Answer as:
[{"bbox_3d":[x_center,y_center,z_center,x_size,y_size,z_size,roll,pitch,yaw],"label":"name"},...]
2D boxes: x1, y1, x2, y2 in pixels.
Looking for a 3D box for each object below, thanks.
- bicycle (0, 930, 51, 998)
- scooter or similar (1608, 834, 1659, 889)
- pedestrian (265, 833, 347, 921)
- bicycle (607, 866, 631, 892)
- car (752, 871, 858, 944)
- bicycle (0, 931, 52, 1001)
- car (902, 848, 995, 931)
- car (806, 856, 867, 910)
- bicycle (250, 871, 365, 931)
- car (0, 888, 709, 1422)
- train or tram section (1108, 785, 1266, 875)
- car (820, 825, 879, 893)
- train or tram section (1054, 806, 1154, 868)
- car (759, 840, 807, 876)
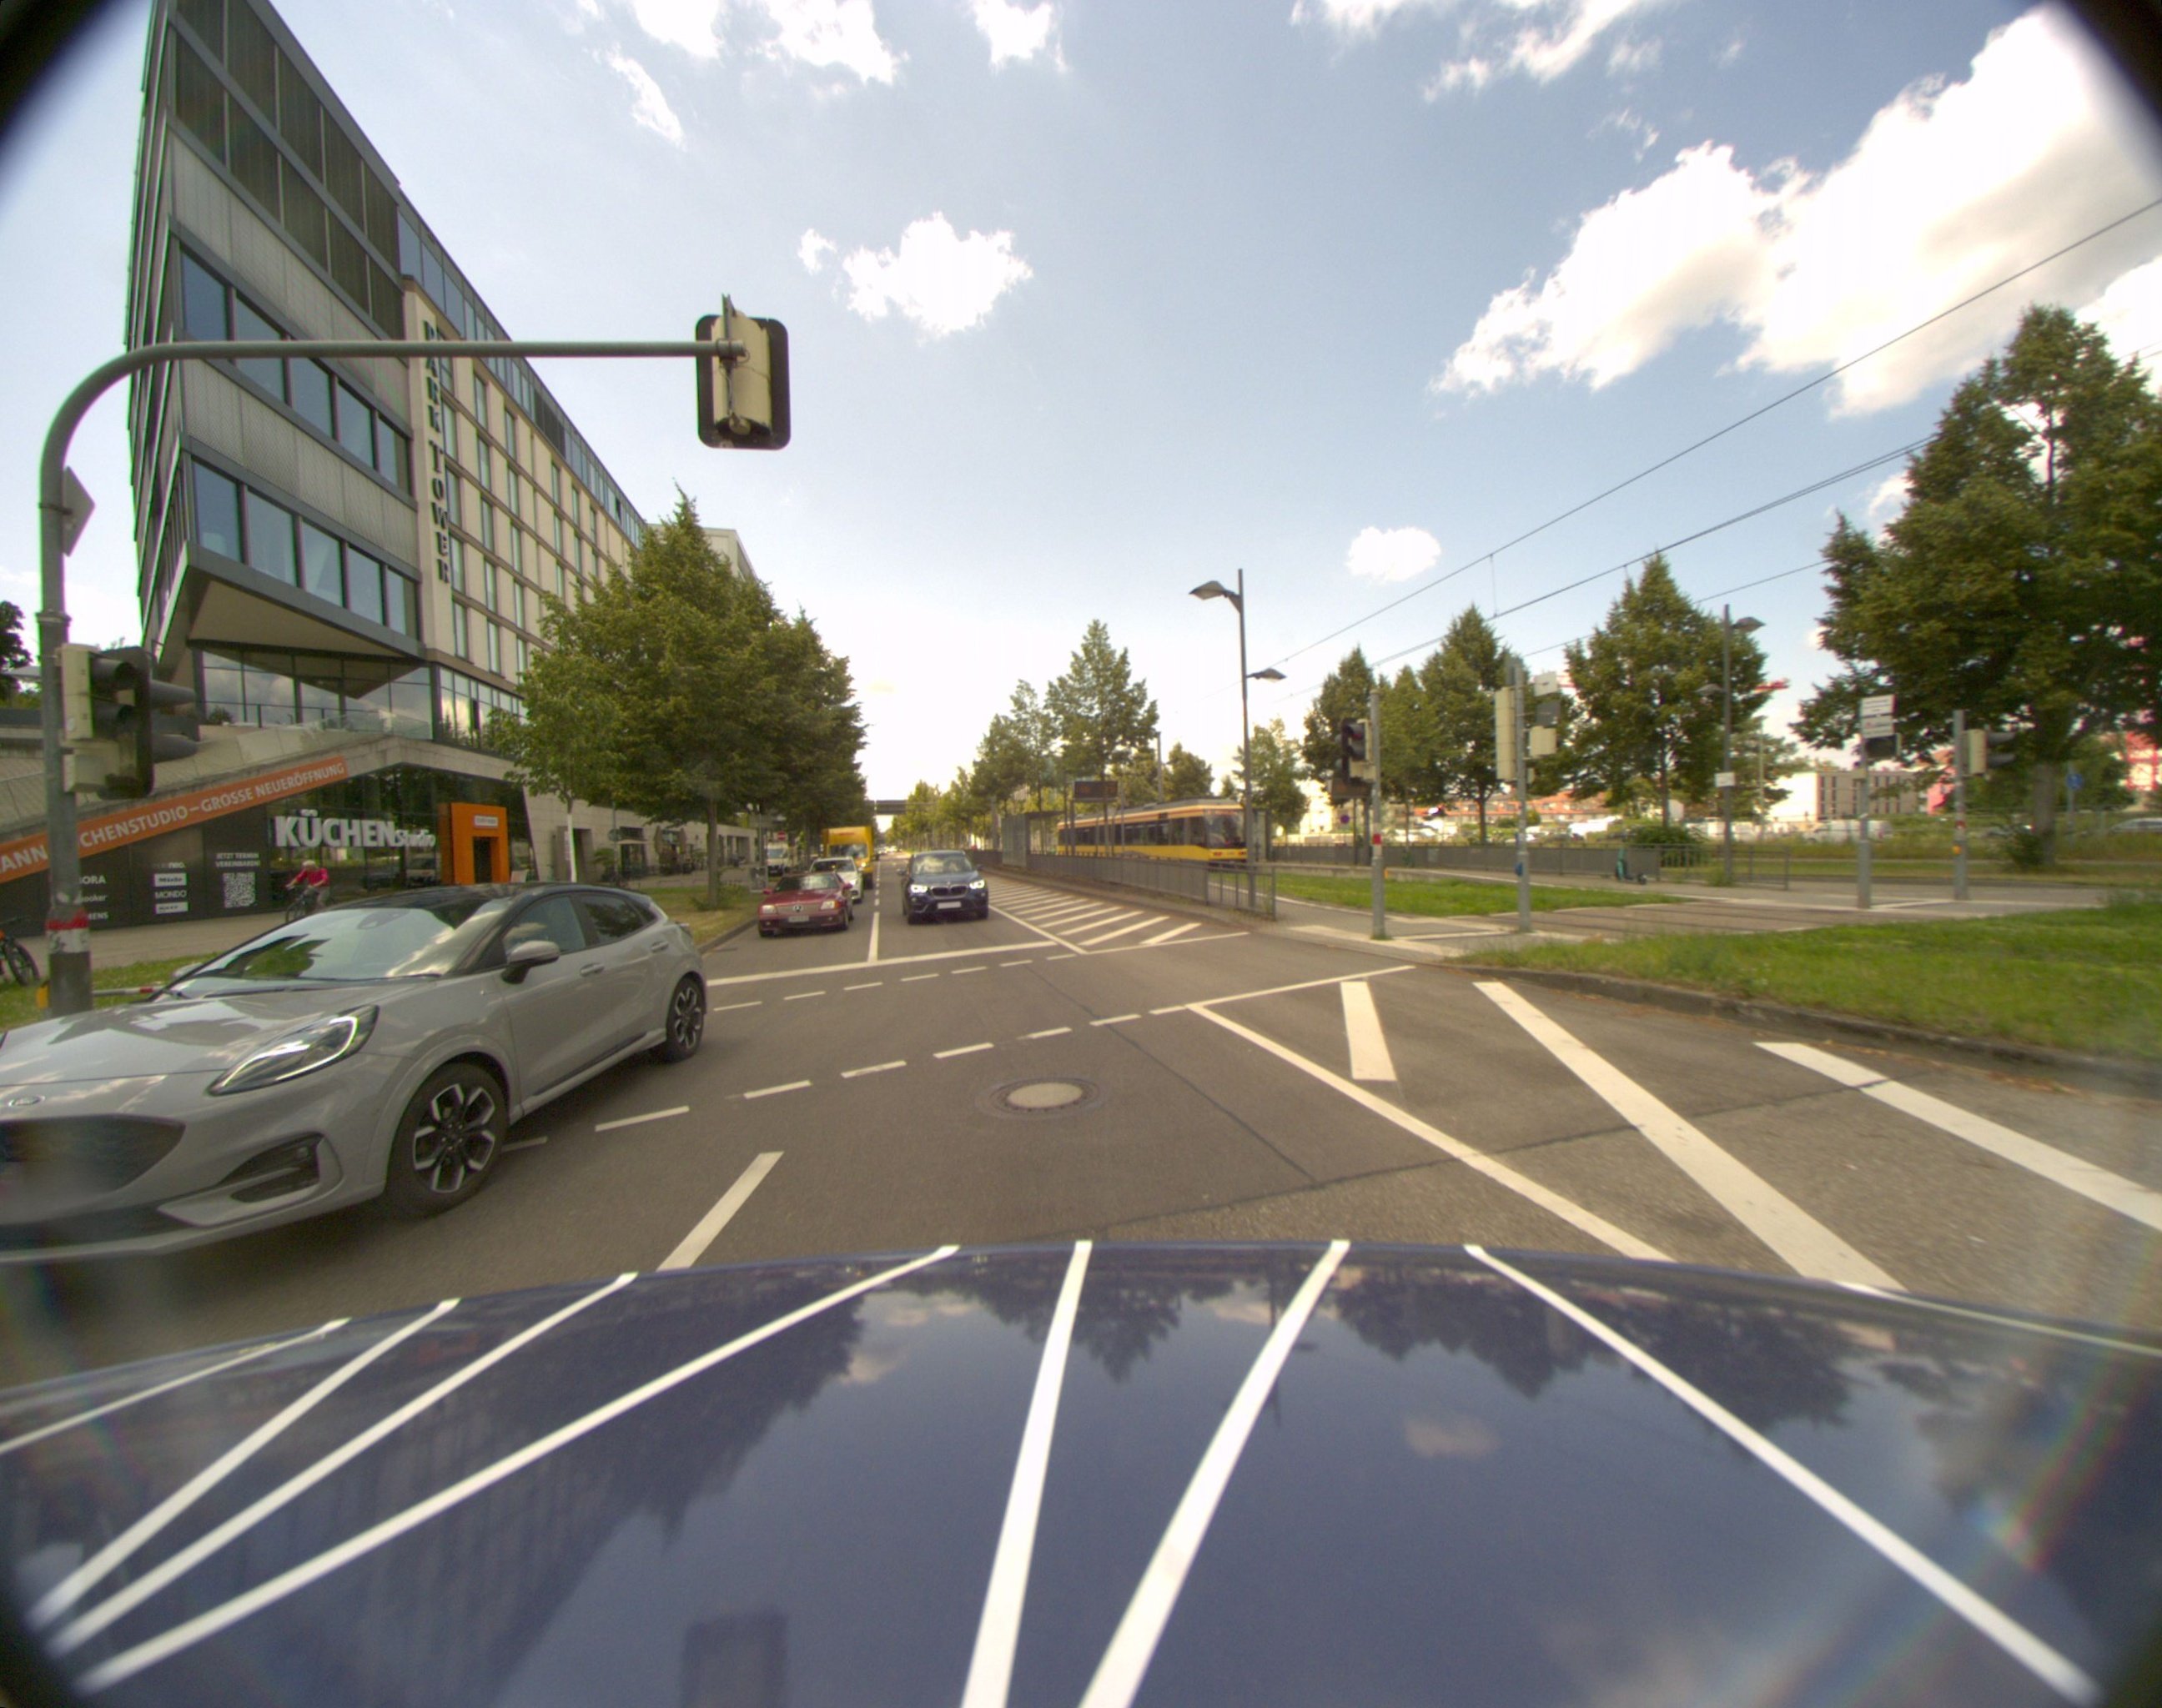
[{"bbox_3d":[-14.154,1.463,9.733,0.359,0.821,1.471,-2,1,-20],"label":"bicycle"},{"bbox_3d":[13.904,0.170,19.160,0.418,1.295,1.345,-2,4,6],"label":"scooter or similar"},{"bbox_3d":[-18.491,0.518,18.170,0.755,2.002,1.230,-3,1,-16],"label":"pedestrian"},{"bbox_3d":[-20.398,1.108,33.579,0.517,1.082,1.746,-2,1,-18],"label":"bicycle"},{"bbox_3d":[-6.135,1.120,17.318,1.675,1.254,4.087,-3,1,-12],"label":"car"},{"bbox_3d":[-13.782,1.446,9.466,0.359,0.821,1.471,-2,1,-20],"label":"bicycle"},{"bbox_3d":[-3.304,0.743,18.363,1.776,1.590,4.121,-4,2,-14],"label":"car"},{"bbox_3d":[-8.381,0.918,26.355,1.676,1.589,4.122,-4,1,-14],"label":"car"},{"bbox_3d":[-18.465,1.079,18.222,0.813,1.237,2.407,-1,1,-16],"label":"bicycle"},{"bbox_3d":[-3.932,1.095,4.479,1.674,1.463,4.089,-2,1,-5],"label":"car"},{"bbox_3d":[4.782,-1.057,38.759,2.853,3.718,13.458,-2,1,-15],"label":"train or tram section"},{"bbox_3d":[-10.838,0.190,36.034,2.287,2.837,7.245,-2,1,-15],"label":"car"},{"bbox_3d":[1.136,-1.046,52.451,2.696,3.617,14.644,-2,1,-15],"label":"train or tram section"},{"bbox_3d":[-21.725,0.240,55.606,2.163,2.380,6.270,-4,2,-13],"label":"car"}]
